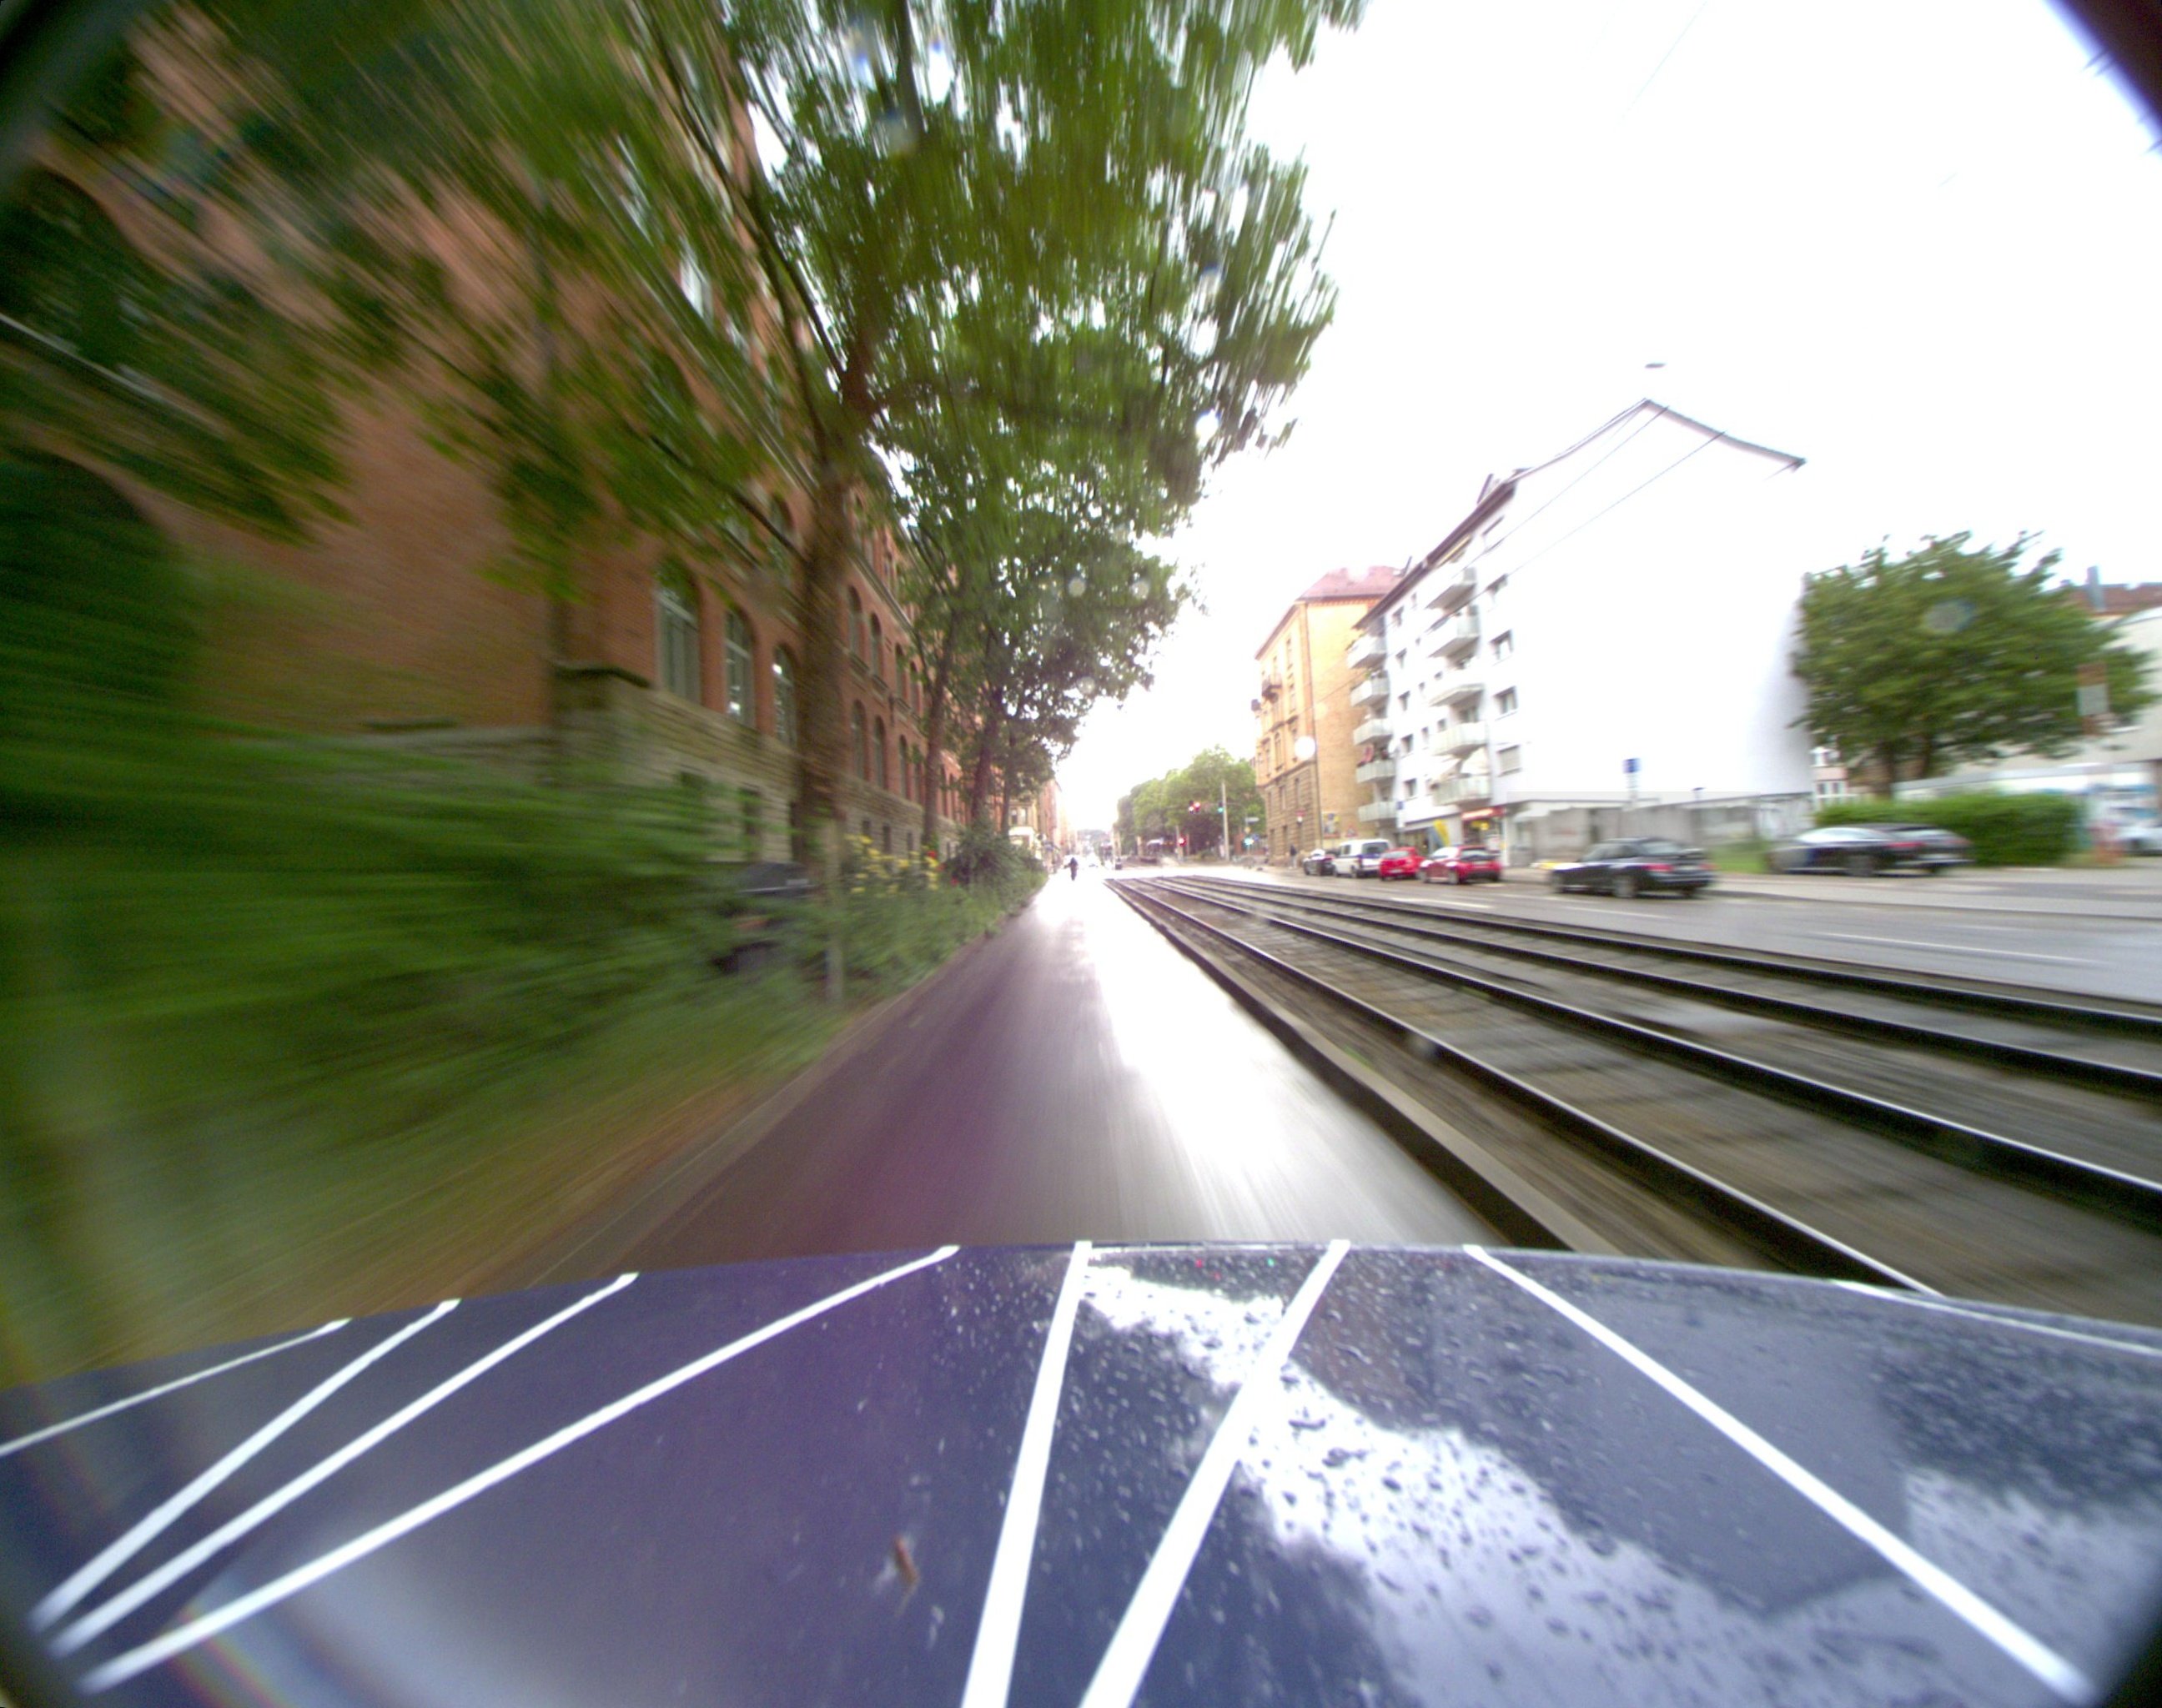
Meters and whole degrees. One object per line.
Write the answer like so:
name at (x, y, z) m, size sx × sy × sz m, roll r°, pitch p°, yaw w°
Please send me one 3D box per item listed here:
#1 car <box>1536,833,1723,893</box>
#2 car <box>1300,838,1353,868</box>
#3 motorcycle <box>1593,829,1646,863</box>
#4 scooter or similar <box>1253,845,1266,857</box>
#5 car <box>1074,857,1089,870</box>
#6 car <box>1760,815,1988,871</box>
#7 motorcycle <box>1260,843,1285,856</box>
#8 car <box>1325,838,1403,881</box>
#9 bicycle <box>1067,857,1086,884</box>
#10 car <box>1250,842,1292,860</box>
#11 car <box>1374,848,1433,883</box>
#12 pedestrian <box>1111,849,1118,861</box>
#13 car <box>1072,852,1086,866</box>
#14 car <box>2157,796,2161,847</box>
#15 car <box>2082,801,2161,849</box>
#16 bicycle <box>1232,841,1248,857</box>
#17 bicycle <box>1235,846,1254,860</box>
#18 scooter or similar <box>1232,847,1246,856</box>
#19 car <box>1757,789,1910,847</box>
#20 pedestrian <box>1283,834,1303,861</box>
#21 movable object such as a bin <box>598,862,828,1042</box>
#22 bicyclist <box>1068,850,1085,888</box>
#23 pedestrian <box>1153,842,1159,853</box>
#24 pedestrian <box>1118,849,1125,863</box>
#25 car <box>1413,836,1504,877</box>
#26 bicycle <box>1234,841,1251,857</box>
car at (14.635, 0.202, 20.669) m, size 1.684 × 1.388 × 4.621 m, roll -2°, pitch 0°, yaw -1°
car at (14.924, -0.083, 46.457) m, size 1.737 × 1.641 × 4.363 m, roll -3°, pitch 0°, yaw 0°
motorcycle at (20.419, -0.330, 28.855) m, size 0.641 × 1.193 × 1.784 m, roll -6°, pitch 2°, yaw -1°
scooter or similar at (22.068, -0.357, 93.765) m, size 1.507 × 1.363 × 0.452 m, roll -3°, pitch 1°, yaw -16°
car at (0.050, 1.257, 99.543) m, size 1.884 × 1.439 × 3.999 m, roll -3°, pitch 1°, yaw 0°
car at (21.386, -0.265, 20.822) m, size 1.874 × 1.296 × 4.480 m, roll -3°, pitch 0°, yaw 7°
motorcycle at (23.172, -0.541, 91.956) m, size 2.658 × 1.363 × 0.865 m, roll -2°, pitch 1°, yaw -6°
car at (15.113, 0.291, 40.976) m, size 2.075 × 1.997 × 5.301 m, roll -5°, pitch 0°, yaw 0°
bicycle at (-0.269, 0.975, 46.364) m, size 0.936 × 1.545 × 3.135 m, roll -2°, pitch 0°, yaw 2°
car at (18.069, -0.298, 72.296) m, size 3.803 × 1.529 × 1.774 m, roll -3°, pitch 1°, yaw -34°
car at (15.410, 0.534, 36.226) m, size 1.781 × 1.425 × 3.989 m, roll -3°, pitch 1°, yaw 35°
pedestrian at (4.268, 0.118, 96.587) m, size 0.837 × 1.595 × 1.001 m, roll -2°, pitch 1°, yaw -1°
car at (-0.218, 0.722, 118.208) m, size 1.825 × 1.893 × 5.991 m, roll -4°, pitch 1°, yaw 2°
car at (34.776, -1.029, 22.079) m, size 1.671 × 1.624 × 3.904 m, roll -3°, pitch 1°, yaw 5°
car at (32.299, -0.881, 21.934) m, size 1.672 × 1.392 × 3.903 m, roll -2°, pitch 1°, yaw 1°
bicycle at (20.659, -0.623, 98.807) m, size 1.896 × 2.002 × 0.518 m, roll -4°, pitch 1°, yaw -6°
bicycle at (20.626, -0.127, 95.836) m, size 2.097 × 1.688 × 0.556 m, roll -3°, pitch 1°, yaw -6°
scooter or similar at (20.803, -0.350, 100.206) m, size 1.720 × 1.187 × 0.478 m, roll -3°, pitch 1°, yaw -20°
car at (27.588, -1.252, 28.058) m, size 1.690 × 1.811 × 4.001 m, roll -2°, pitch -1°, yaw 1°
pedestrian at (16.028, -0.492, 57.499) m, size 1.174 × 1.918 × 1.178 m, roll -3°, pitch 1°, yaw 3°
movable object such as a bin at (-3.265, 0.799, 6.862) m, size 1.402 × 1.444 × 1.218 m, roll -1°, pitch 0°, yaw 16°
bicyclist at (-0.276, 0.906, 46.387) m, size 0.920 × 2.250 × 1.287 m, roll -2°, pitch 1°, yaw 2°
pedestrian at (14.333, -1.233, 145.006) m, size 0.837 × 2.050 × 0.884 m, roll -2°, pitch 1°, yaw -3°
pedestrian at (5.125, 0.221, 96.210) m, size 0.827 × 1.788 × 1.001 m, roll -2°, pitch 1°, yaw -1°
car at (14.901, 0.077, 30.223) m, size 1.657 × 1.443 × 4.074 m, roll -2°, pitch 0°, yaw 2°
bicycle at (20.782, -0.621, 97.815) m, size 1.896 × 2.002 × 0.518 m, roll -4°, pitch 1°, yaw -6°
